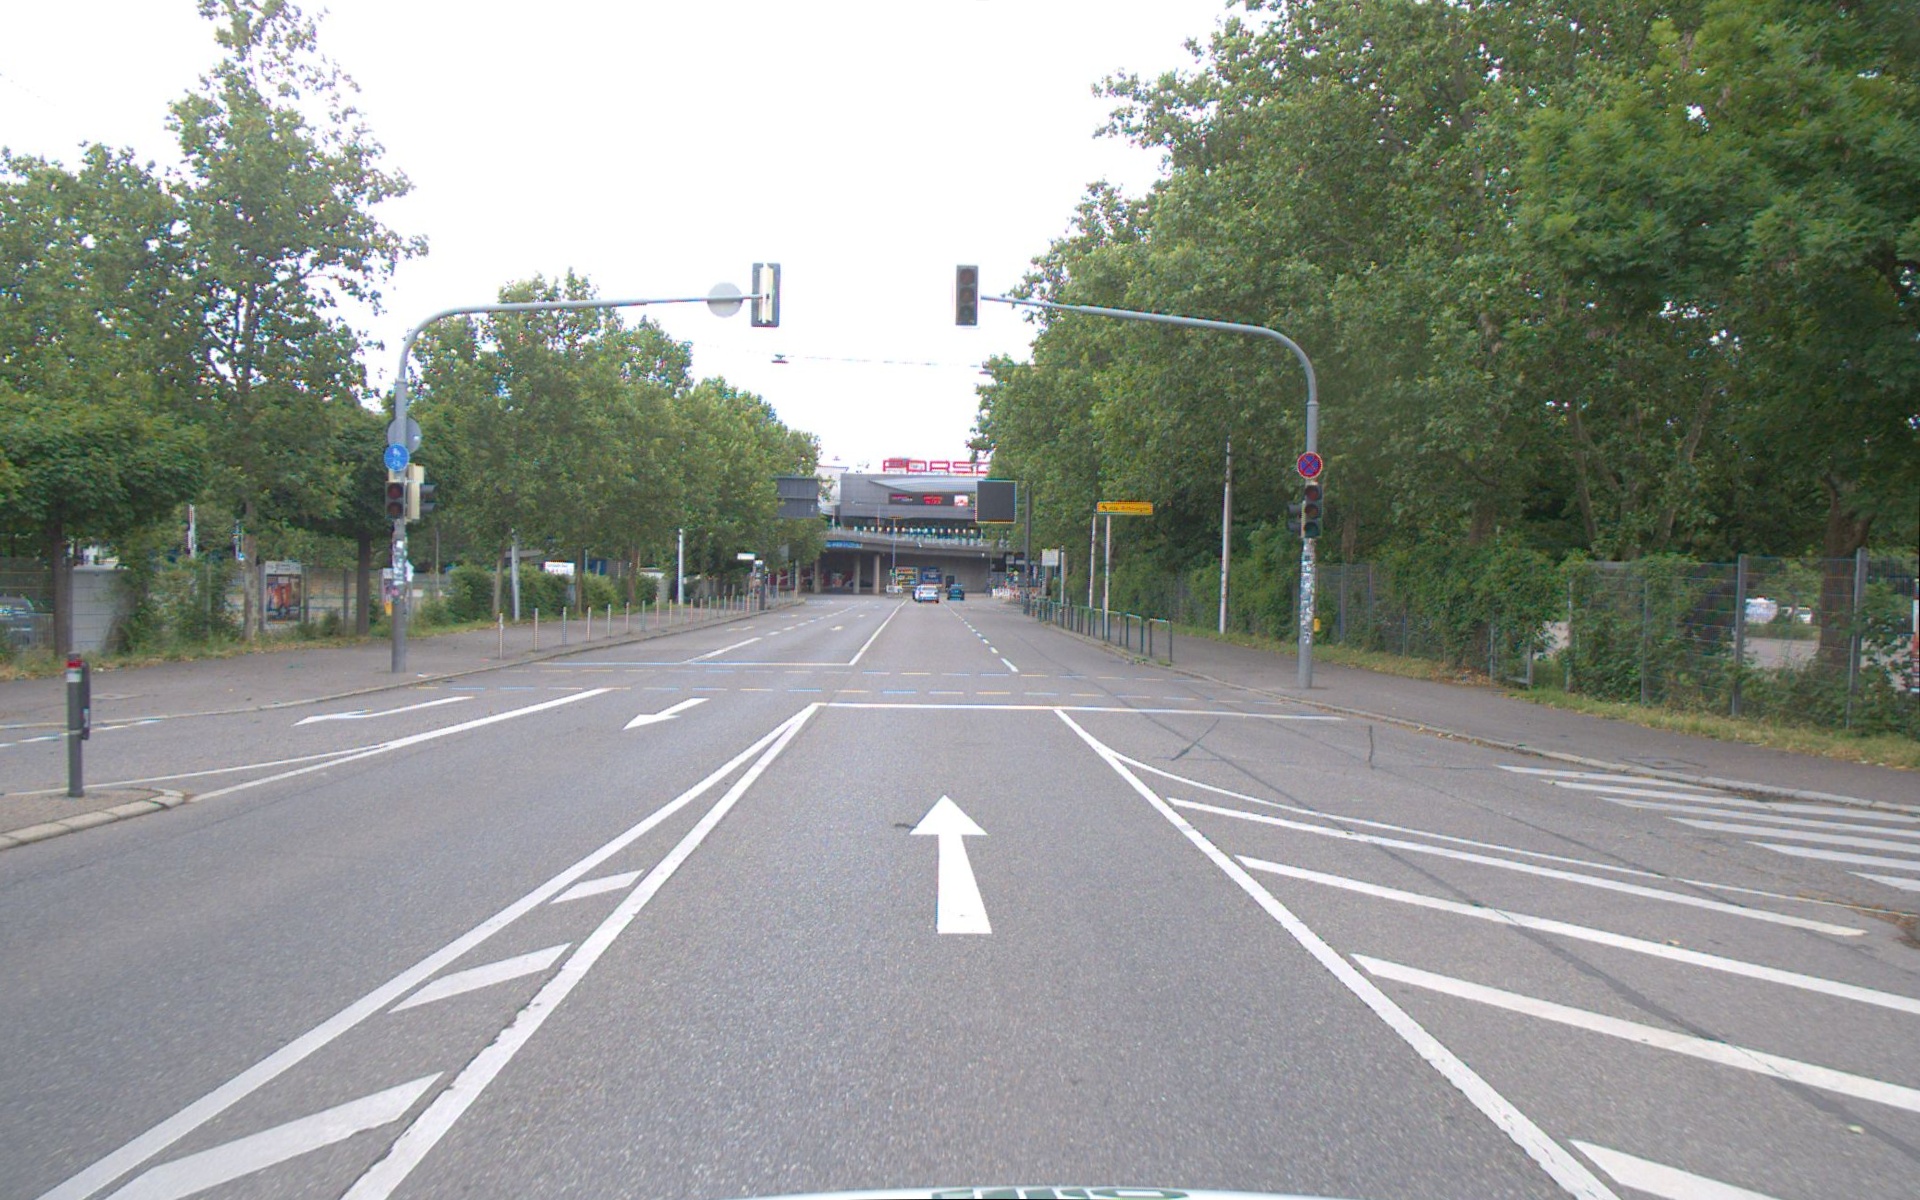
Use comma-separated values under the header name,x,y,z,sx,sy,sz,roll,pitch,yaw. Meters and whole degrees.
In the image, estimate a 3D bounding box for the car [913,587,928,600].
name,x,y,z,sx,sy,sz,roll,pitch,yaw
car,-3.708,-0.649,154.818,1.382,1.132,3.037,2,1,-1

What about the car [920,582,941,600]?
name,x,y,z,sx,sy,sz,roll,pitch,yaw
car,-2.582,-0.761,145.561,1.742,1.485,3.822,3,0,0

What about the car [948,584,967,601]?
name,x,y,z,sx,sy,sz,roll,pitch,yaw
car,-0.302,-0.826,180.930,1.966,1.728,4.069,2,1,0
